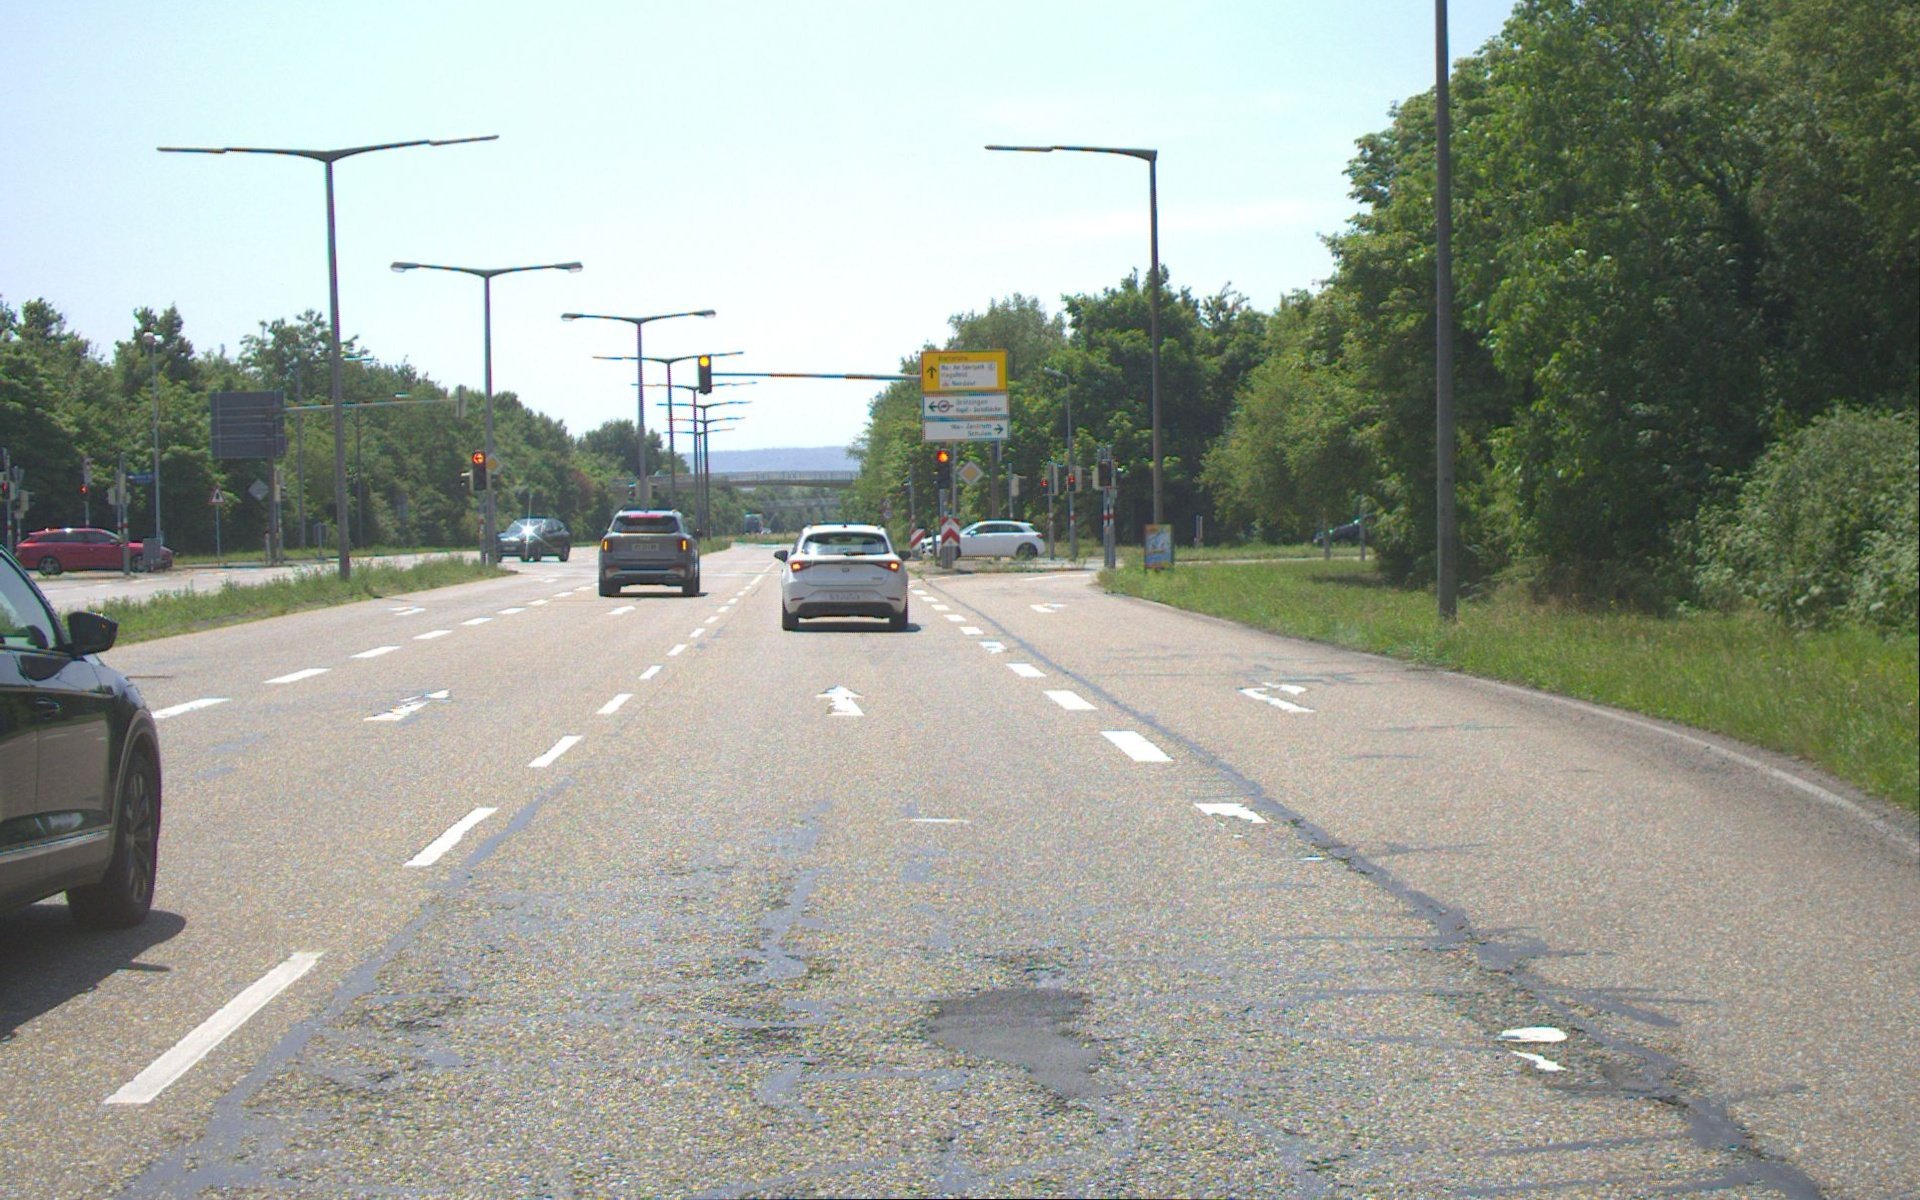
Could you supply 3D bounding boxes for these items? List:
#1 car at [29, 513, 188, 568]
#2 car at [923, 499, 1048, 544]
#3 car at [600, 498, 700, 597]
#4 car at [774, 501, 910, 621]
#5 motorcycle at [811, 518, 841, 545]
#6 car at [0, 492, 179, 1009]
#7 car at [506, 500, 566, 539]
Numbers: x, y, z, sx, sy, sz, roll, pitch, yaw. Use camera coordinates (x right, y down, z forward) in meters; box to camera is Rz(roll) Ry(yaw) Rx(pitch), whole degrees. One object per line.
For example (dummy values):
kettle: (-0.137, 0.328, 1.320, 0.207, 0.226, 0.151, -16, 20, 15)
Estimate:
car: (-25.608, -1.794, 103.492, 4.522, 1.635, 1.978, 0, 1, -10)
car: (0.884, -2.758, 121.288, 4.100, 1.520, 1.939, -1, 2, -10)
car: (-6.194, -1.061, 68.986, 1.755, 1.922, 4.001, 0, 1, -2)
car: (-1.611, -0.565, 48.140, 1.797, 1.577, 4.000, -1, 1, -1)
motorcycle: (-6.631, -3.383, 170.314, 1.424, 1.276, 2.569, -2, 1, -2)
car: (-3.780, 0.440, 10.996, 1.755, 1.550, 4.001, 0, 1, -2)
car: (-16.640, -3.173, 134.957, 1.828, 1.514, 4.000, 0, 1, 0)
